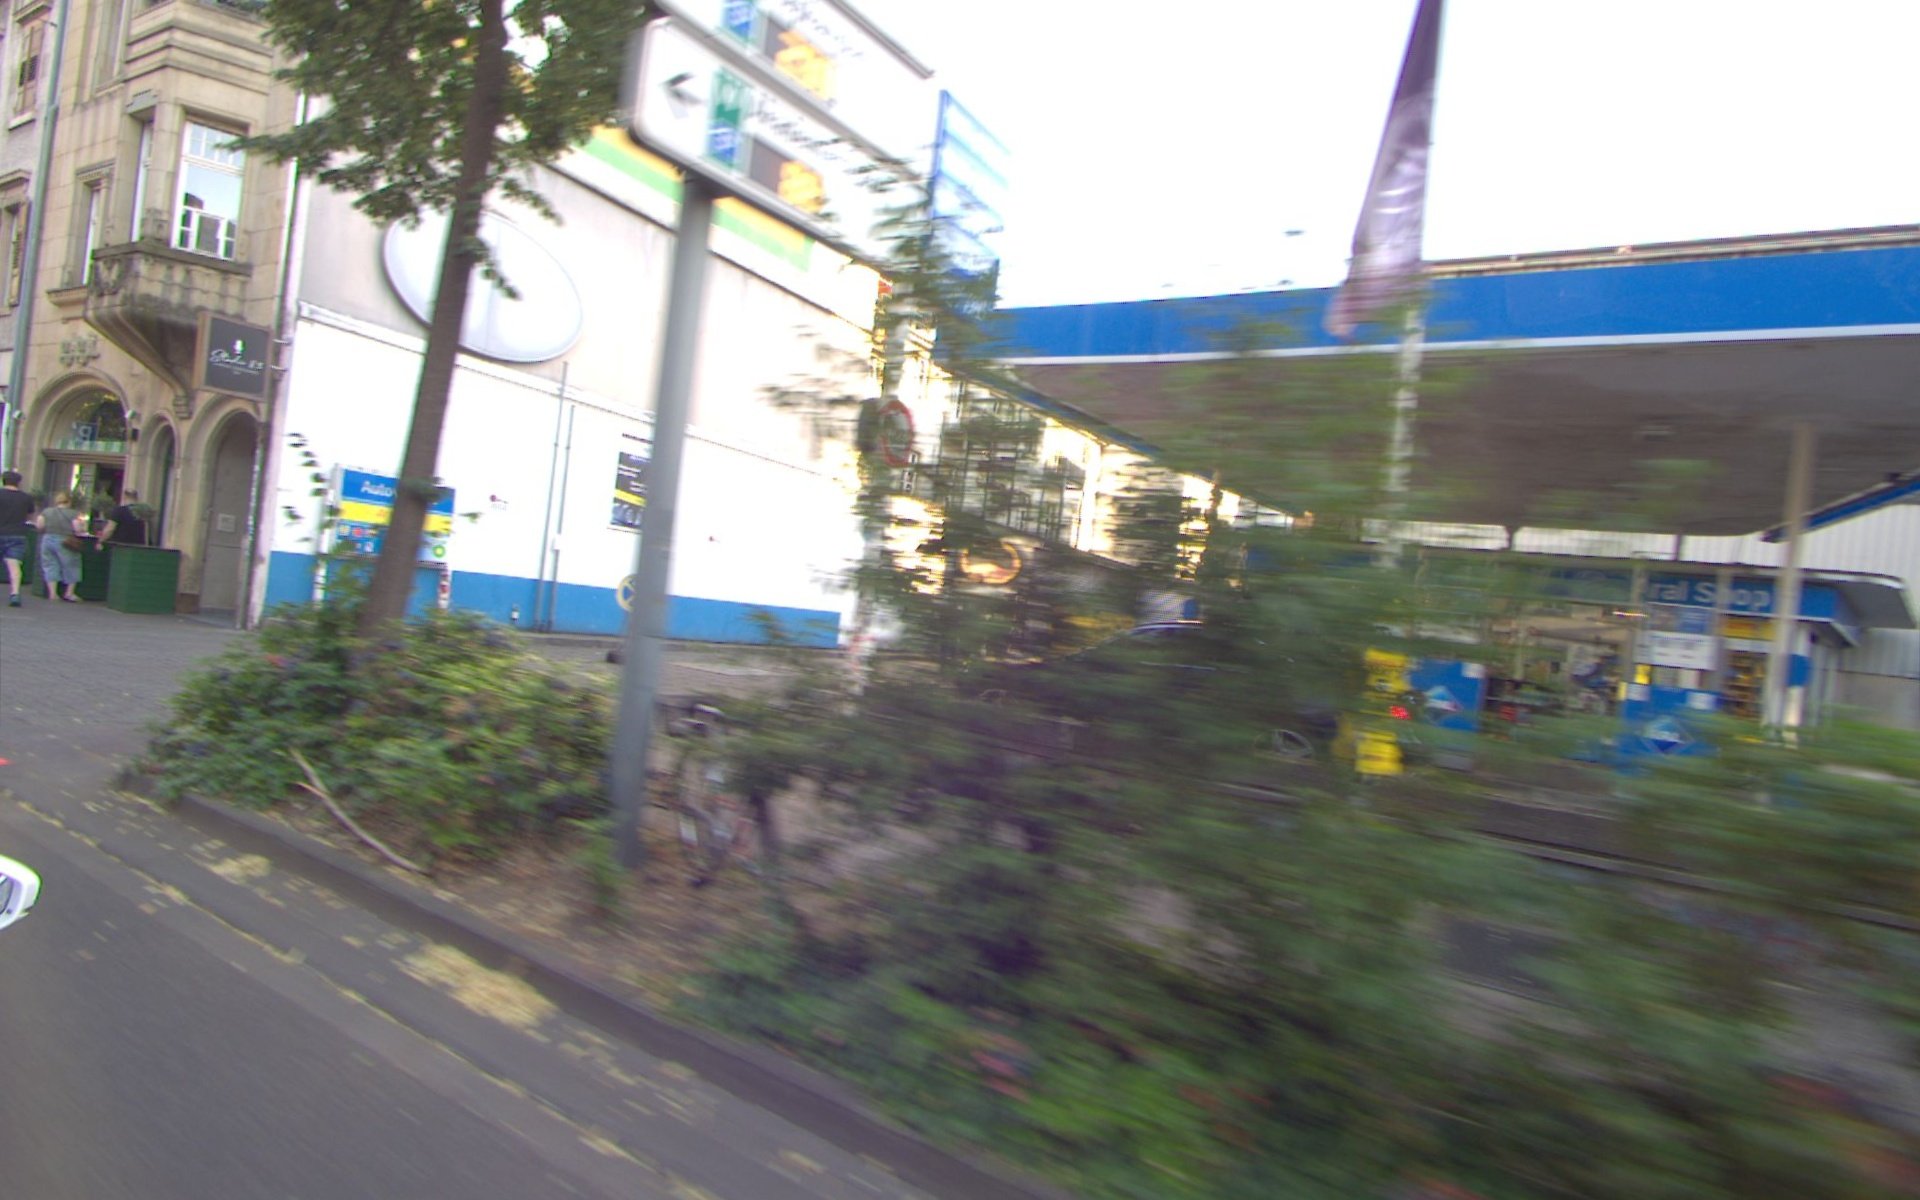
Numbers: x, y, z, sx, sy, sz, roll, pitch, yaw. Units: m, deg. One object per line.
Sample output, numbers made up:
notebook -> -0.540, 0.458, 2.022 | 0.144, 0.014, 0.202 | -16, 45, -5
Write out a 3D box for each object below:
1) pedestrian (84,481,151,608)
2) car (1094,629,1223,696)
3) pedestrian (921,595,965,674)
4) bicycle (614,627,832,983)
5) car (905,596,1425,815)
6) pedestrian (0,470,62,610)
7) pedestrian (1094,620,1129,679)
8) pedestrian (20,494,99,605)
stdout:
pedestrian -> -13.138, -0.850, 15.694 | 0.492, 1.898, 0.461 | 7, 1, 17
car -> 5.310, 1.680, 26.457 | 1.871, 1.418, 4.227 | 6, -1, 31
pedestrian -> -0.392, 0.809, 23.212 | 0.644, 1.737, 0.547 | 8, 1, 31
bicycle -> -1.125, 0.782, 4.478 | 0.478, 1.158, 1.669 | 4, 2, -27
car -> 1.954, 0.923, 10.293 | 4.828, 1.448, 1.736 | 5, -1, 32
pedestrian -> -13.326, -0.862, 14.036 | 1.079, 1.878, 0.823 | 7, 2, 31
pedestrian -> 4.559, 1.499, 30.300 | 0.637, 1.674, 0.691 | 8, 1, 31
pedestrian -> -13.657, -0.759, 15.255 | 0.690, 1.583, 0.659 | 7, 2, 32
